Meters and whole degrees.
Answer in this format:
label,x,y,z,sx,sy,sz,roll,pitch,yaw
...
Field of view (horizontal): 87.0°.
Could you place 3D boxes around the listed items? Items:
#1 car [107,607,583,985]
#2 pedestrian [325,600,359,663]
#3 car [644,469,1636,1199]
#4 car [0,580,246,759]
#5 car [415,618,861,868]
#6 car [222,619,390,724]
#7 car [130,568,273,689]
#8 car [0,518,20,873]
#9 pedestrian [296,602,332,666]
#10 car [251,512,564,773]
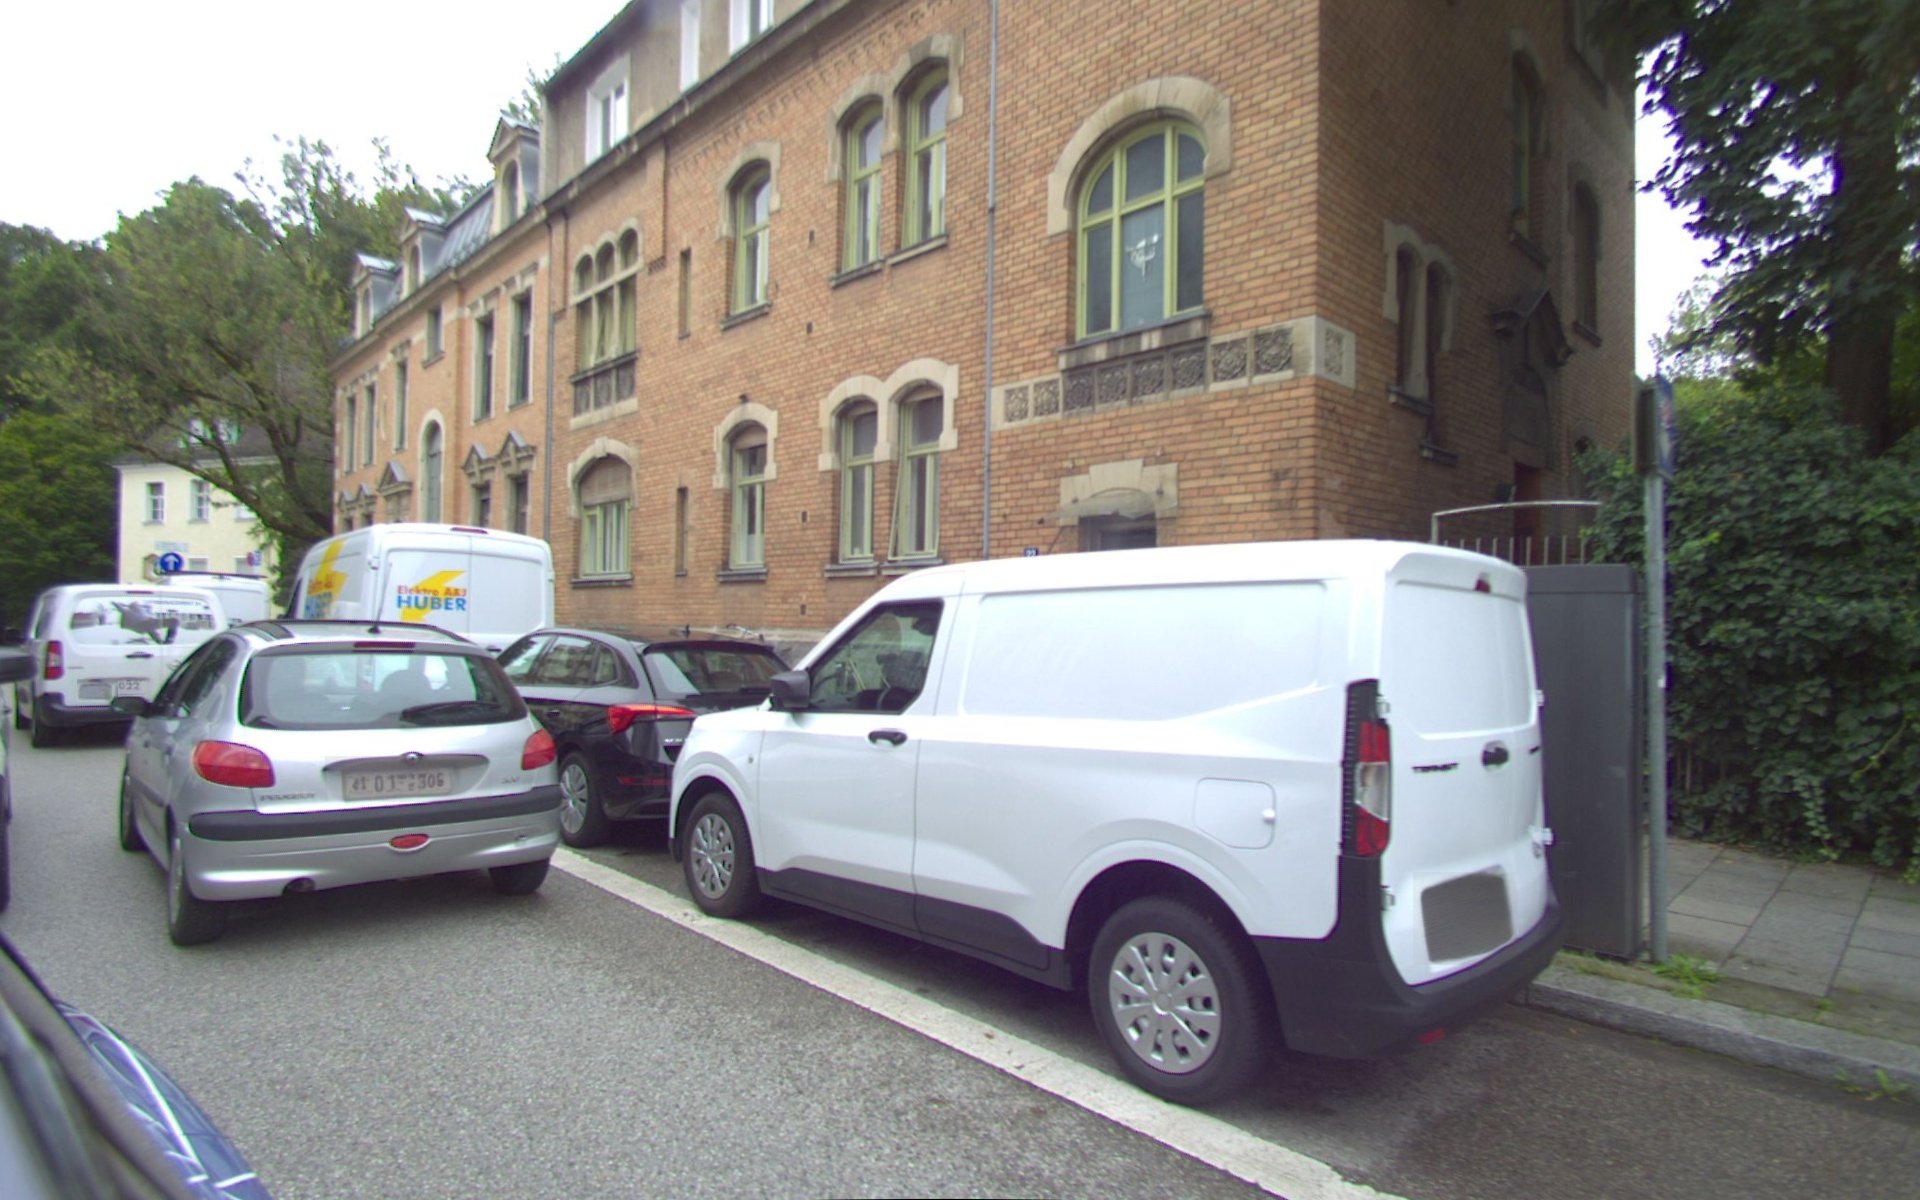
label,x,y,z,sx,sy,sz,roll,pitch,yaw
car,-3.651,0.772,5.711,1.562,1.422,3.616,2,-2,-43
pedestrian,-16.539,0.840,27.083,0.625,1.645,0.468,4,-4,-43
car,0.390,0.651,4.531,4.147,1.817,1.670,-1,-4,45
car,-10.490,0.767,12.524,4.572,1.817,1.752,-1,-3,43
car,-2.745,0.904,8.015,1.670,1.454,4.148,4,-3,-44
car,-10.351,1.064,15.928,1.505,1.454,3.543,4,-4,-44
car,-17.984,0.723,23.915,2.088,2.560,4.425,5,-5,-43
car,-5.800,0.562,4.893,1.750,1.785,4.004,3,-3,-43
pedestrian,-16.958,0.899,26.564,0.624,1.645,0.676,4,-4,-43
car,-6.874,0.474,12.265,1.958,2.497,5.227,4,-3,-44
